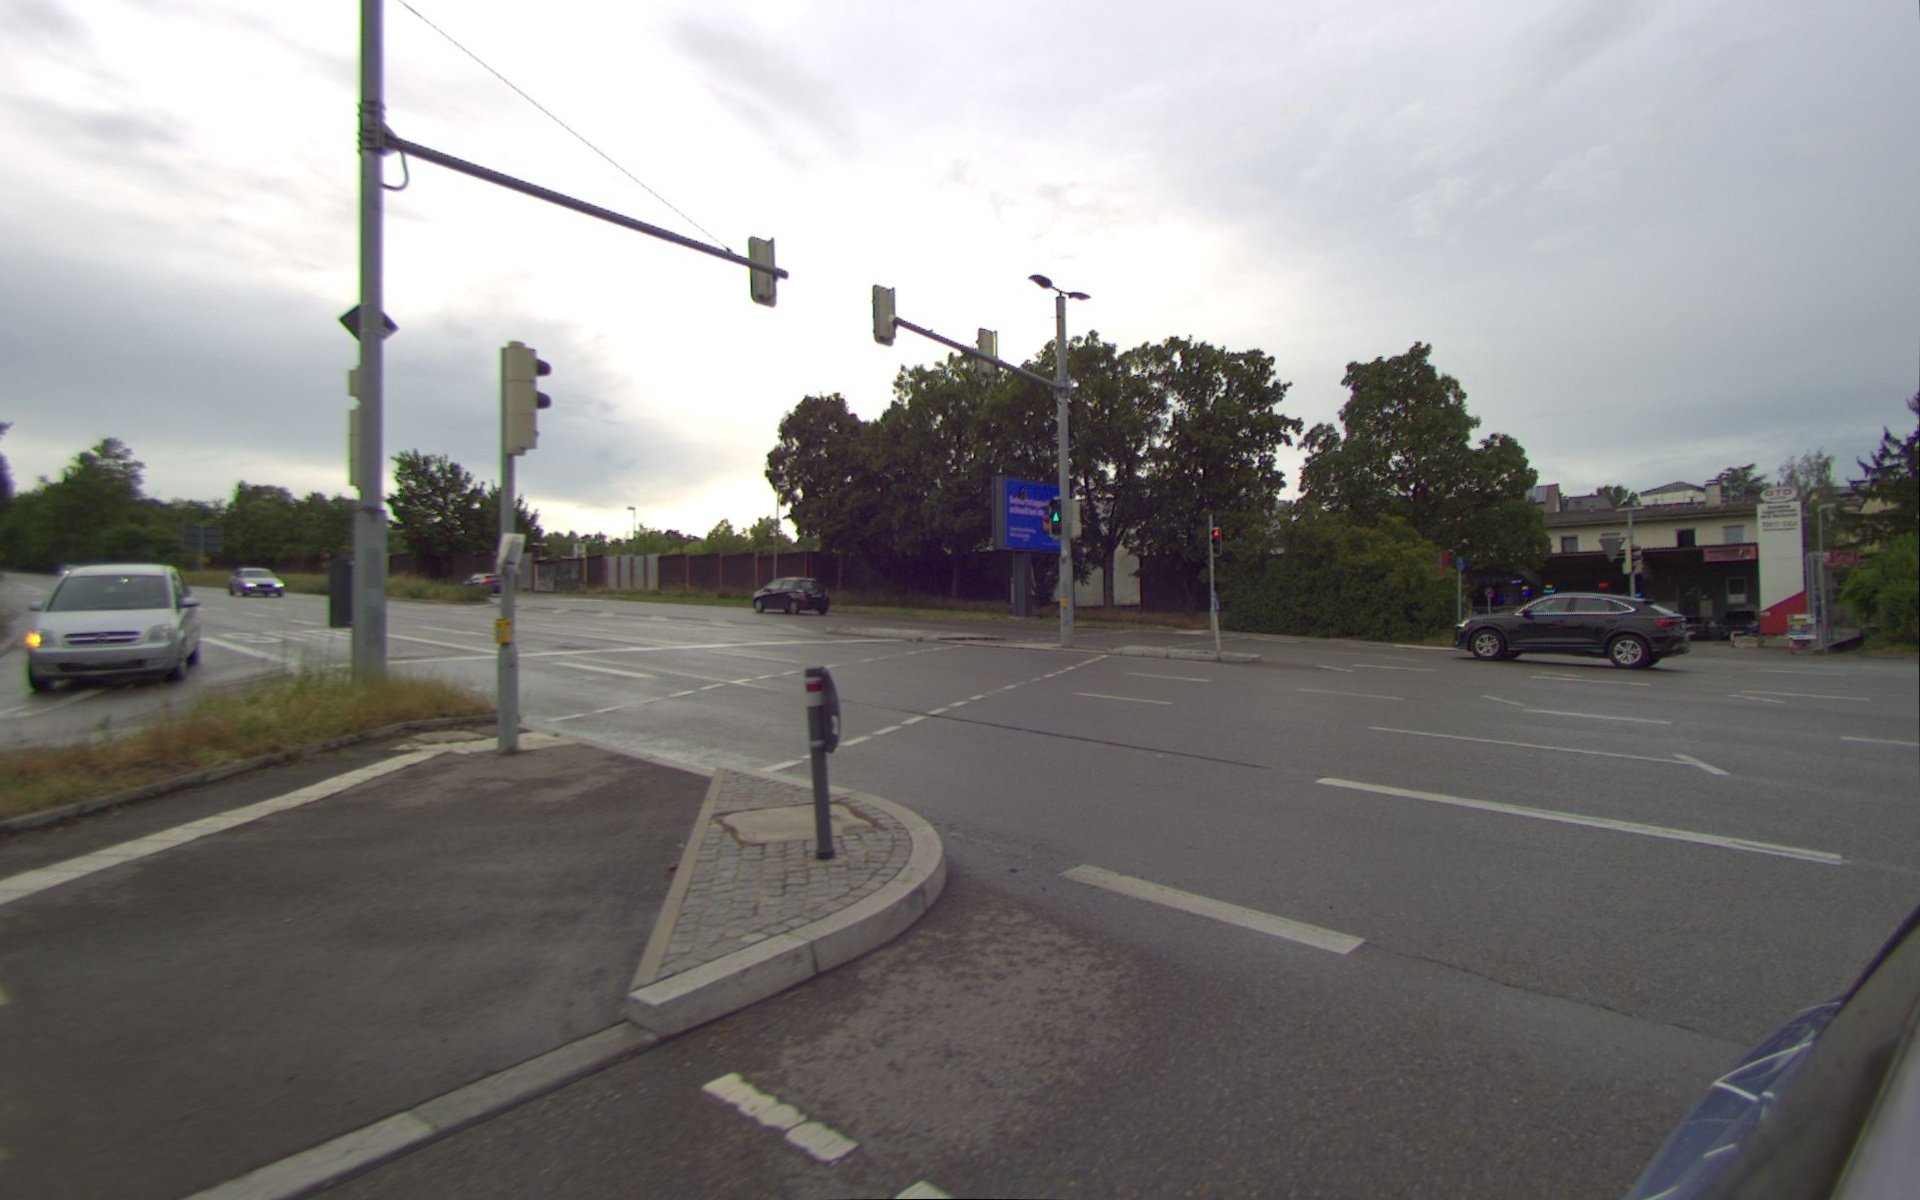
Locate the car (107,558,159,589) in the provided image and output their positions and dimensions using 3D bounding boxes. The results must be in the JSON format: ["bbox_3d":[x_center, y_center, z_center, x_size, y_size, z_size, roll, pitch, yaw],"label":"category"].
[{"bbox_3d":[-47.541,-1.518,58.151,3.997,1.695,1.794,2,1,44],"label":"car"}]

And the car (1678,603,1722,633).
[{"bbox_3d":[43.241,1.031,59.122,1.740,1.672,3.940,2,1,41],"label":"car"}]

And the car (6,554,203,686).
[{"bbox_3d":[-12.452,0.151,14.990,1.789,1.623,4.064,-3,4,-35],"label":"car"}]

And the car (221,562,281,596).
[{"bbox_3d":[-37.274,-1.124,53.183,3.986,1.695,1.795,2,1,43],"label":"car"}]

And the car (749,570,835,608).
[{"bbox_3d":[-7.131,-0.499,42.766,3.815,1.519,1.698,2,1,44],"label":"car"}]

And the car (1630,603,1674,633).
[{"bbox_3d":[41.629,1.041,60.845,1.740,1.672,3.940,2,1,41],"label":"car"}]

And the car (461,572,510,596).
[{"bbox_3d":[-31.201,-1.048,66.529,3.815,1.519,1.698,2,1,44],"label":"car"}]

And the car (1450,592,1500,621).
[{"bbox_3d":[31.200,0.405,61.267,1.740,1.672,3.940,2,1,41],"label":"car"}]

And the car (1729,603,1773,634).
[{"bbox_3d":[44.875,1.023,57.395,1.740,1.672,3.940,2,1,41],"label":"car"}]

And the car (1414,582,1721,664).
[{"bbox_3d":[13.166,0.425,22.252,5.517,1.519,1.811,2,1,44],"label":"car"}]

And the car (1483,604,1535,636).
[{"bbox_3d":[30.754,1.070,56.659,1.740,1.672,3.940,2,1,41],"label":"car"}]

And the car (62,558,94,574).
[{"bbox_3d":[-88.357,-3.404,101.354,3.983,1.436,1.852,2,1,41],"label":"car"}]
